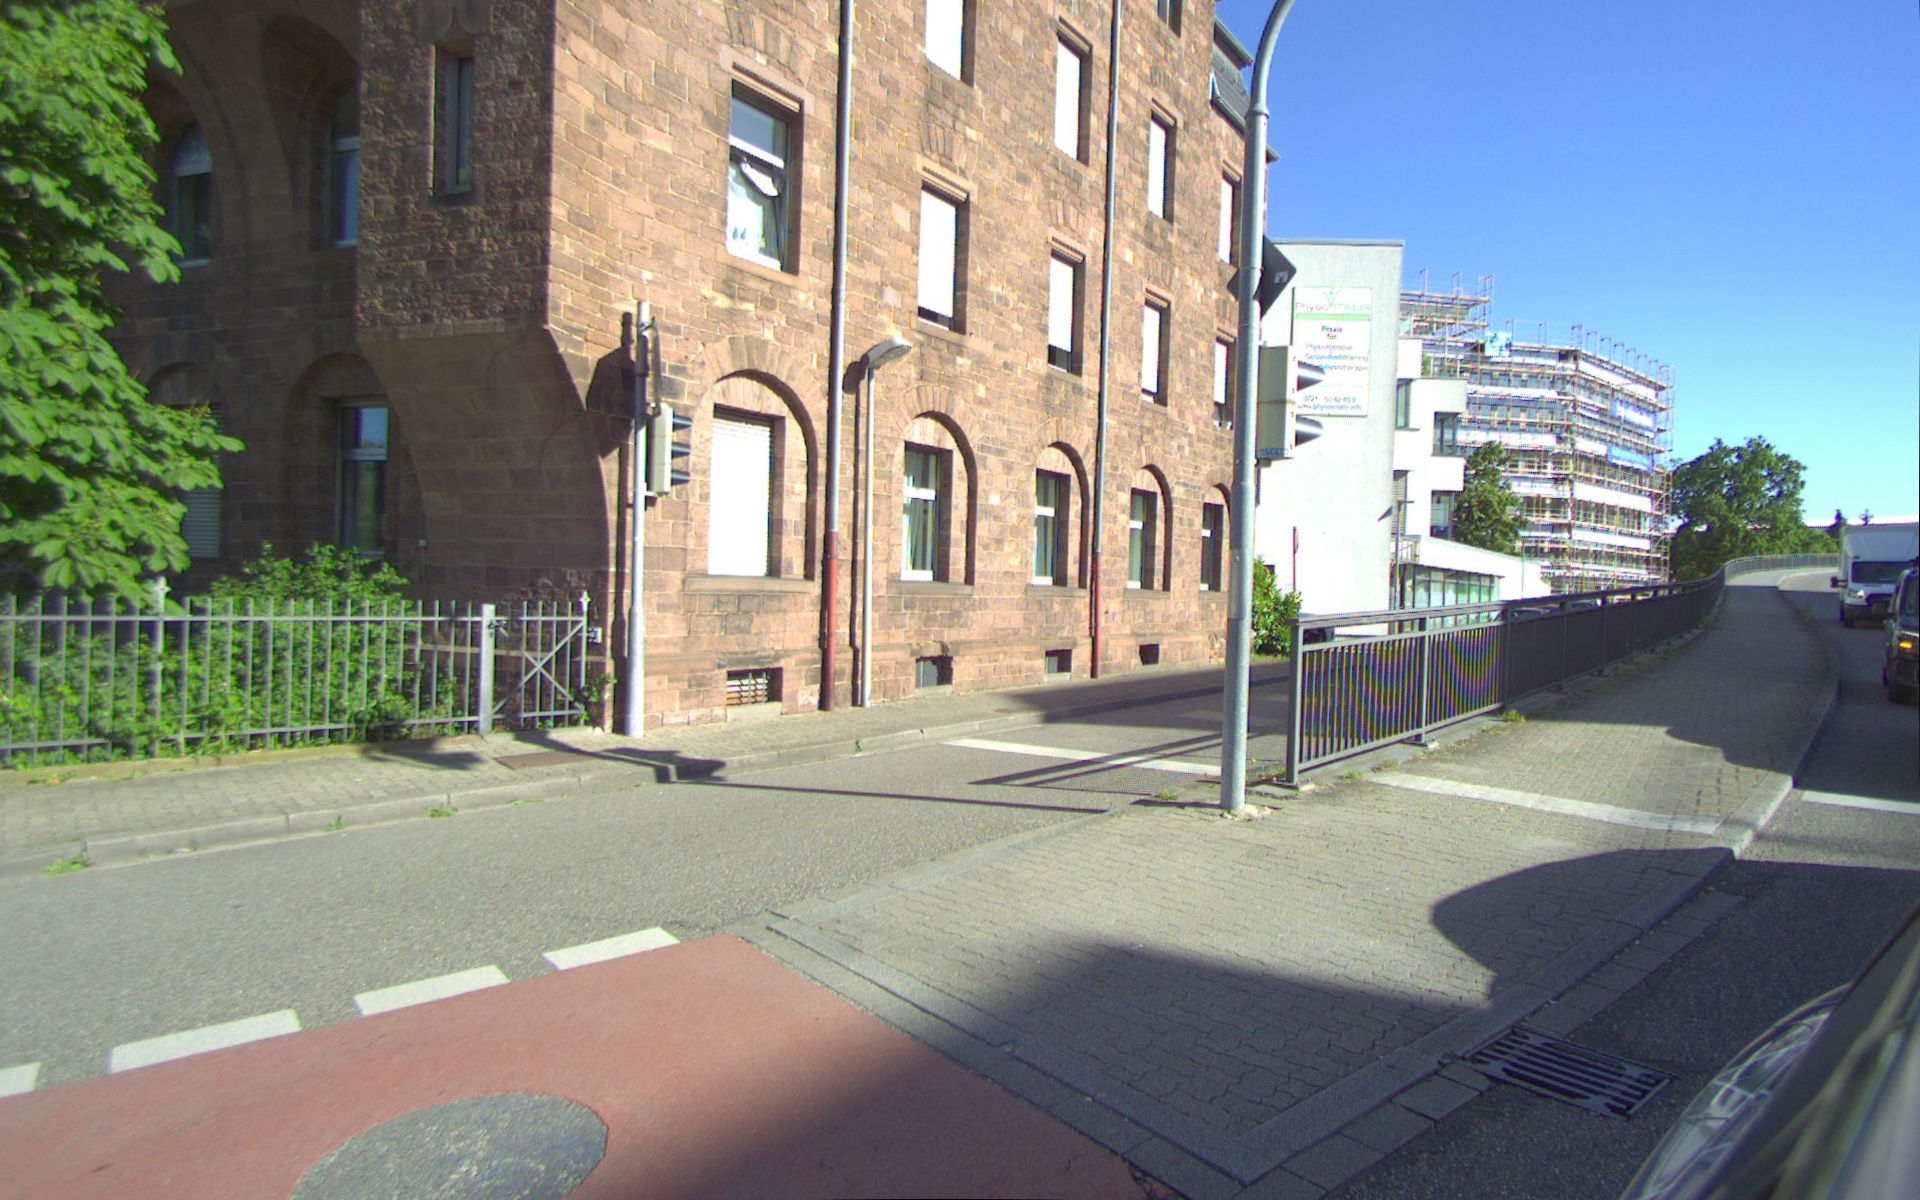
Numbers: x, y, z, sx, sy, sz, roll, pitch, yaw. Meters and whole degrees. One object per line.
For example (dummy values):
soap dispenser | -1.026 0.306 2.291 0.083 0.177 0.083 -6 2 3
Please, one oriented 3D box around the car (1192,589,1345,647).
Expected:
car | 9.110 0.510 30.176 4.020 1.551 1.917 2 0 5

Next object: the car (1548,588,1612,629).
car | 27.609 0.376 45.031 2.043 1.707 4.037 2 0 37

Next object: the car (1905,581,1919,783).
car | 9.279 0.621 8.489 1.875 1.489 4.562 3 2 44

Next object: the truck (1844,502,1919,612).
truck | 29.729 -1.224 32.088 2.495 3.167 6.855 2 1 41

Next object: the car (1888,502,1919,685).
car | 14.081 -0.029 13.856 1.945 2.290 4.710 2 1 43

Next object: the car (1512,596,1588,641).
car | 22.634 0.683 38.737 2.043 1.551 4.037 2 0 37

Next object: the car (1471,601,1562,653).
car | 18.581 0.864 33.705 2.043 1.551 4.036 2 0 38
